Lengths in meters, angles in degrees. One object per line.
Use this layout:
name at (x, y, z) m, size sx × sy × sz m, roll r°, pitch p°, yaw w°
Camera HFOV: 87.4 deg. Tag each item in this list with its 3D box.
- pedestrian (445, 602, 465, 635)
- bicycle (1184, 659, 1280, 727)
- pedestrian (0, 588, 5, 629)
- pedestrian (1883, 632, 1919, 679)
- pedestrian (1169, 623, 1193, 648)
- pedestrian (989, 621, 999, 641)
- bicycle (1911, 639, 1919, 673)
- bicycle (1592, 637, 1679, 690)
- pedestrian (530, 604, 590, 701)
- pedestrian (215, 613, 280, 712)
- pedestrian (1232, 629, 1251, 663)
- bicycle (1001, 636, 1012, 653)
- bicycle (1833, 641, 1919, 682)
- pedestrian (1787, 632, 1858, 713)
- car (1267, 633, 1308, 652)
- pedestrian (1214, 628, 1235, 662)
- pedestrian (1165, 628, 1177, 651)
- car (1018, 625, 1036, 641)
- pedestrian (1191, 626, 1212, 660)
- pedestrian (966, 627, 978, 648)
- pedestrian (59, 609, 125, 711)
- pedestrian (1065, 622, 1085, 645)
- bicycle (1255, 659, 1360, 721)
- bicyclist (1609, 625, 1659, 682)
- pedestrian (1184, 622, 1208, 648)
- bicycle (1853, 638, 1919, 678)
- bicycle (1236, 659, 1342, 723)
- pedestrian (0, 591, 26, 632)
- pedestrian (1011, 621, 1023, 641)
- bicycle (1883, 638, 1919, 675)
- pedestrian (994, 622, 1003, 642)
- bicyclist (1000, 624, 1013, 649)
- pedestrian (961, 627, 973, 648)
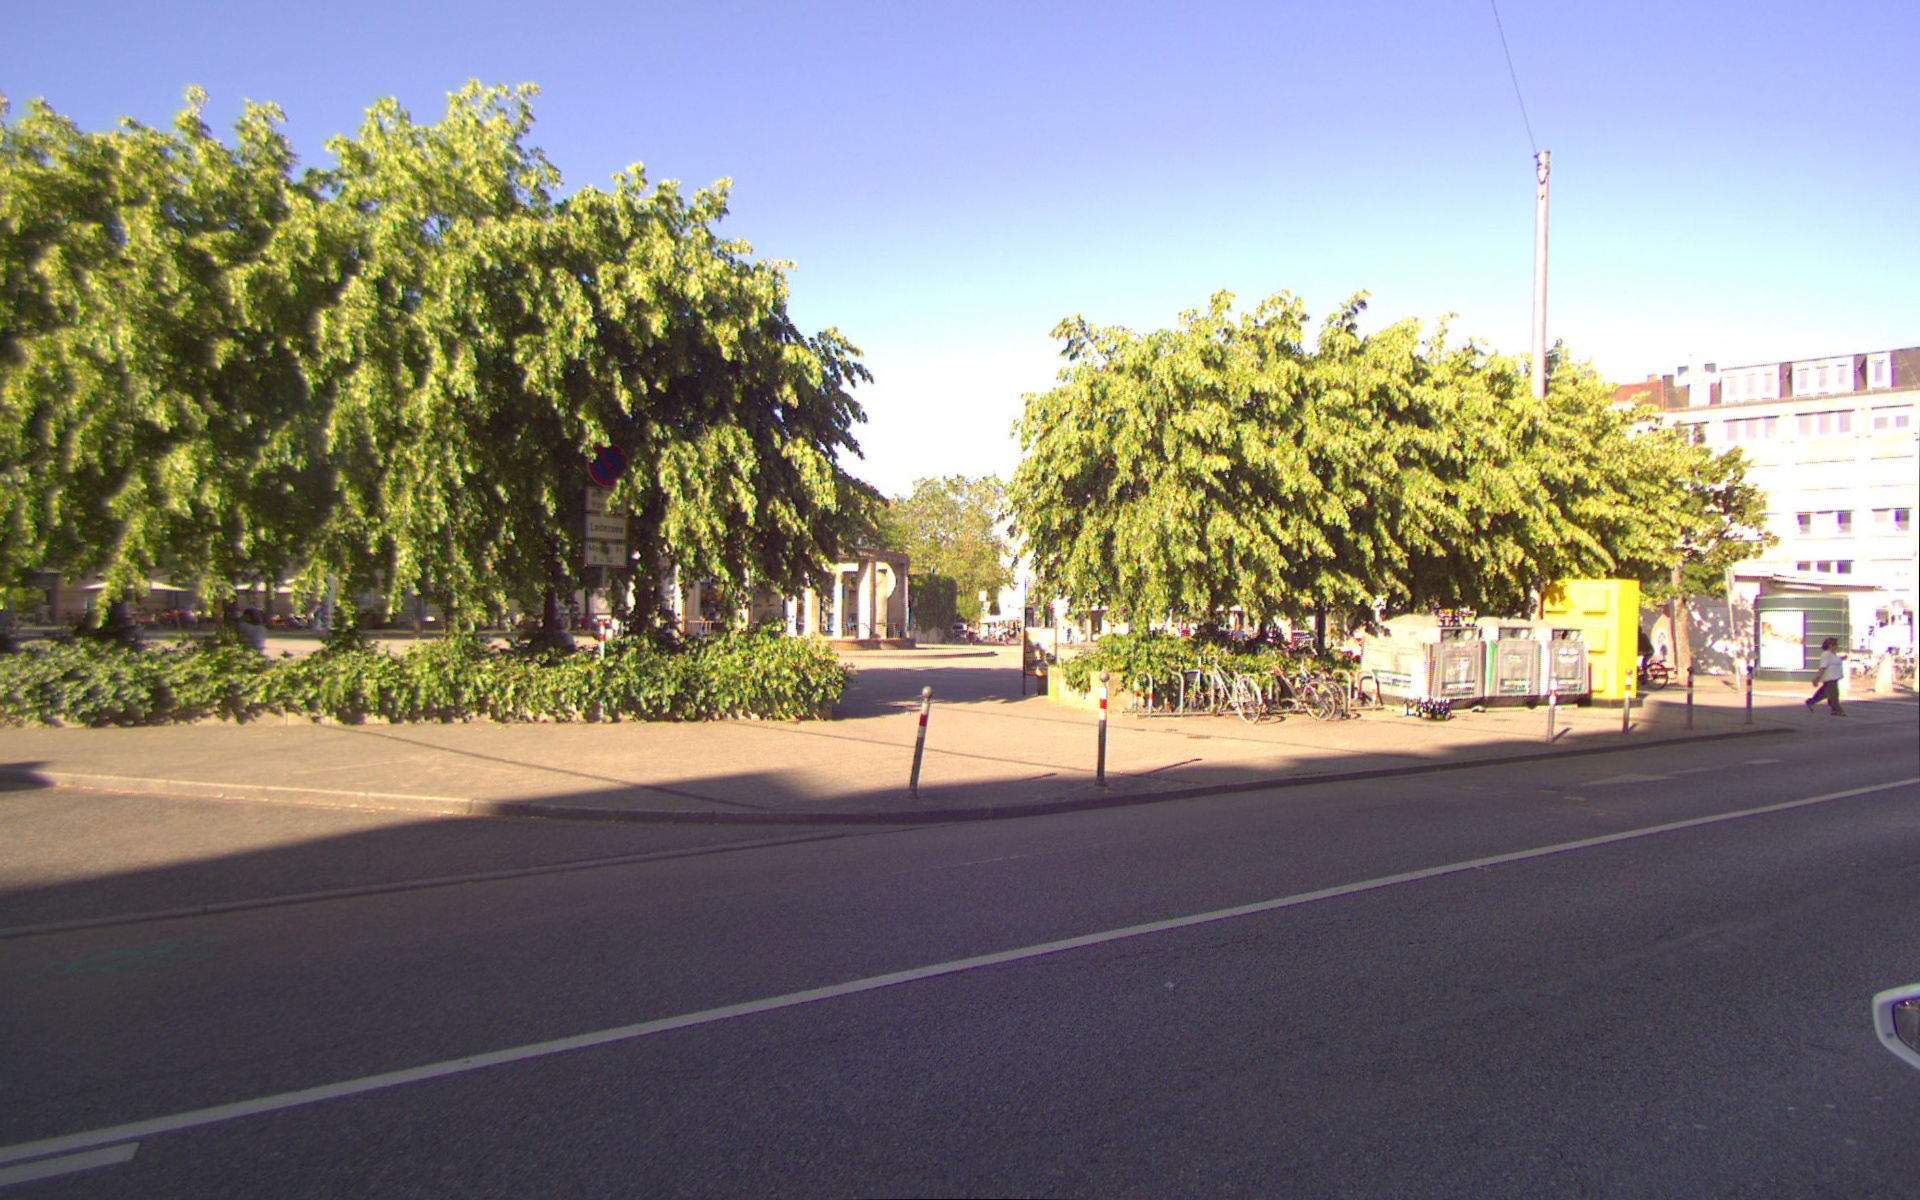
pedestrian at (-24.128, 0.884, 47.964) m, size 0.729 × 1.550 × 0.690 m, roll 2°, pitch 0°, yaw -20°
bicycle at (4.176, 1.408, 15.534) m, size 0.464 × 0.897 × 1.558 m, roll 2°, pitch 0°, yaw -29°
pedestrian at (-36.862, 0.305, 38.038) m, size 0.680 × 1.545 × 0.684 m, roll 2°, pitch 0°, yaw 0°
pedestrian at (34.234, 1.978, 36.046) m, size 1.241 × 1.633 × 1.096 m, roll 2°, pitch 0°, yaw 18°
pedestrian at (11.061, 1.769, 50.274) m, size 0.854 × 1.230 × 0.934 m, roll 2°, pitch 0°, yaw -13°
pedestrian at (3.611, 3.270, 106.904) m, size 0.836 × 2.040 × 0.855 m, roll 2°, pitch 0°, yaw 10°
bicycle at (37.247, 2.153, 37.283) m, size 0.932 × 1.276 × 2.648 m, roll 2°, pitch 0°, yaw -32°
bicycle at (18.310, 1.700, 27.270) m, size 0.619 × 1.239 × 1.994 m, roll 3°, pitch 0°, yaw -14°
pedestrian at (-6.548, 0.844, 16.449) m, size 0.688 × 1.541 × 0.676 m, roll 2°, pitch 0°, yaw -41°
pedestrian at (-10.850, 0.931, 15.309) m, size 0.581 × 1.456 × 0.615 m, roll 2°, pitch 0°, yaw 33°
pedestrian at (12.967, 2.105, 46.259) m, size 0.598 × 1.528 × 0.557 m, roll 2°, pitch 0°, yaw -15°
bicycle at (3.288, 3.123, 71.245) m, size 0.593 × 1.116 × 1.989 m, roll 2°, pitch 0°, yaw -2°
bicycle at (31.222, 2.062, 33.770) m, size 0.932 × 1.211 × 2.645 m, roll 2°, pitch 0°, yaw -32°
pedestrian at (17.403, 1.447, 20.276) m, size 0.688 × 1.564 × 0.915 m, roll 2°, pitch 0°, yaw -35°
car at (25.004, 3.218, 76.663) m, size 2.710 × 1.283 × 1.240 m, roll 2°, pitch 0°, yaw 36°
pedestrian at (12.219, 2.078, 46.396) m, size 0.761 × 1.541 × 0.838 m, roll 2°, pitch 0°, yaw 6°
pedestrian at (14.455, 2.679, 68.850) m, size 0.614 × 1.544 × 0.579 m, roll 2°, pitch 0°, yaw 25°
car at (6.919, 3.421, 104.273) m, size 1.521 × 1.550 × 4.133 m, roll 1°, pitch -1°, yaw -1°
pedestrian at (11.413, 2.038, 47.383) m, size 0.904 × 1.541 × 0.936 m, roll 2°, pitch 0°, yaw 15°
pedestrian at (0.904, 2.793, 75.528) m, size 0.617 × 1.544 × 0.576 m, roll 2°, pitch 0°, yaw 43°
pedestrian at (-12.858, 0.868, 14.892) m, size 0.615 × 1.456 × 0.647 m, roll 2°, pitch 0°, yaw -32°
pedestrian at (9.699, 2.849, 84.509) m, size 1.277 × 1.867 × 1.100 m, roll 2°, pitch 0°, yaw 28°
bicycle at (5.674, 1.451, 16.488) m, size 0.465 × 0.870 × 1.654 m, roll 2°, pitch 0°, yaw -35°
bicyclist at (18.310, 1.447, 27.294) m, size 0.598 × 1.504 × 0.955 m, roll 2°, pitch 0°, yaw -15°
pedestrian at (11.941, 1.773, 50.795) m, size 0.884 × 1.230 × 0.865 m, roll 2°, pitch 0°, yaw -11°
bicycle at (33.145, 2.038, 35.073) m, size 0.923 × 1.291 × 2.764 m, roll 2°, pitch 0°, yaw -32°
bicycle at (5.276, 1.441, 16.192) m, size 0.465 × 0.870 × 1.659 m, roll 2°, pitch 0°, yaw -35°
pedestrian at (-37.133, 0.439, 39.183) m, size 0.680 × 1.550 × 0.684 m, roll 2°, pitch 0°, yaw 1°
pedestrian at (5.393, 2.896, 95.017) m, size 0.891 × 1.845 × 0.952 m, roll 2°, pitch 0°, yaw 17°
bicycle at (35.263, 2.082, 36.139) m, size 0.932 × 1.287 × 2.859 m, roll 2°, pitch 0°, yaw -32°
pedestrian at (3.943, 3.260, 102.698) m, size 0.836 × 2.040 × 0.855 m, roll 2°, pitch 0°, yaw 10°
bicyclist at (3.311, 2.555, 71.039) m, size 0.773 × 1.722 × 0.895 m, roll 2°, pitch 0°, yaw -3°
pedestrian at (0.505, 2.779, 75.101) m, size 0.617 × 1.544 × 0.576 m, roll 2°, pitch 0°, yaw 42°
